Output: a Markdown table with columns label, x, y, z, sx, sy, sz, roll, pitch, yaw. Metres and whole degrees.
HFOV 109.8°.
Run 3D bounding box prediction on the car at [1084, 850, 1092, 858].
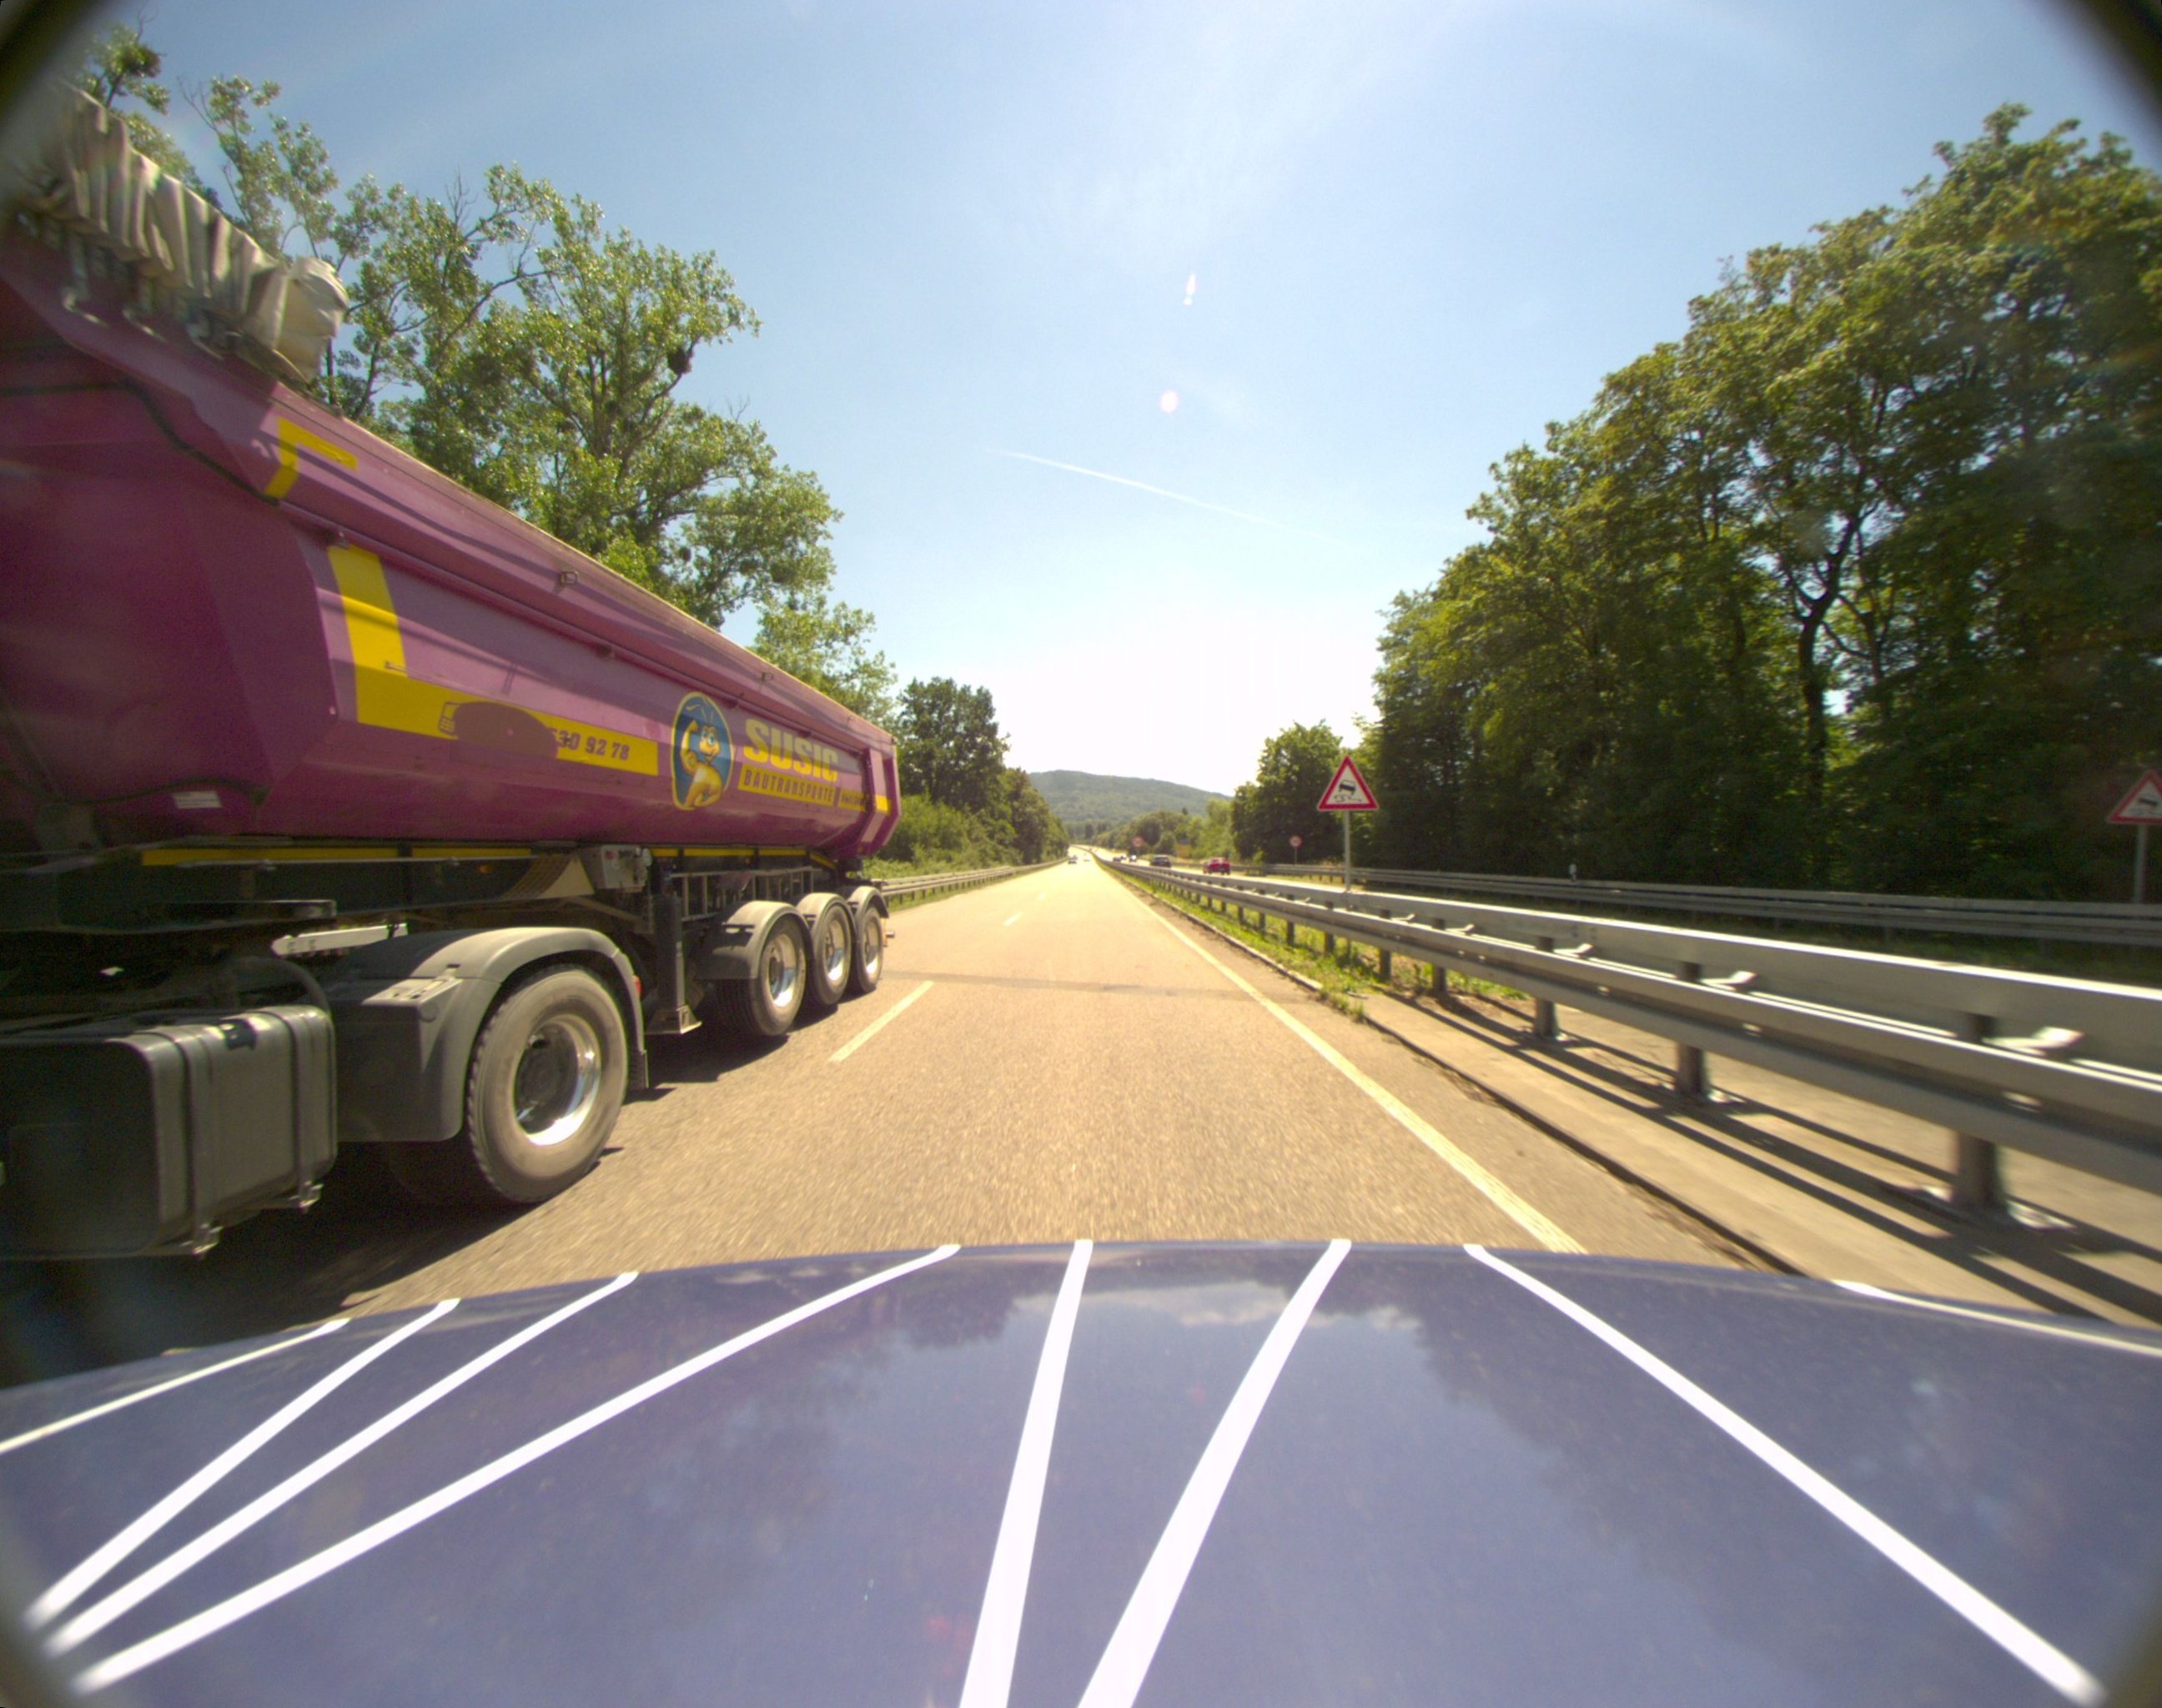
| label | x | y | z | sx | sy | sz | roll | pitch | yaw |
| --- | --- | --- | --- | --- | --- | --- | --- | --- | --- |
| car | 1.924 | -0.030 | 204.146 | 1.998 | 2.002 | 4.001 | 0 | 0 | 3 |

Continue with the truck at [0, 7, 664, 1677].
| label | x | y | z | sx | sy | sz | roll | pitch | yaw |
| --- | --- | --- | --- | --- | --- | --- | --- | --- | --- |
| truck | -3.676 | -0.028 | 1.218 | 2.605 | 3.670 | 5.938 | -2 | 0 | 0 |

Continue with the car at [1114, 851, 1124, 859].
| label | x | y | z | sx | sy | sz | roll | pitch | yaw |
| --- | --- | --- | --- | --- | --- | --- | --- | --- | --- |
| car | 8.772 | 0.201 | 176.142 | 1.998 | 1.652 | 4.389 | 0 | 0 | 1 |

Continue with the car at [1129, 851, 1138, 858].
| label | x | y | z | sx | sy | sz | roll | pitch | yaw |
| --- | --- | --- | --- | --- | --- | --- | --- | --- | --- |
| car | 12.604 | 0.210 | 183.004 | 1.998 | 1.652 | 4.389 | 0 | 0 | 0 |

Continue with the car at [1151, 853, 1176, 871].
| label | x | y | z | sx | sy | sz | roll | pitch | yaw |
| --- | --- | --- | --- | --- | --- | --- | --- | --- | --- |
| car | 7.955 | 0.781 | 73.393 | 1.998 | 1.652 | 4.389 | 0 | 0 | 1 |

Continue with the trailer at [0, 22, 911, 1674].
| label | x | y | z | sx | sy | sz | roll | pitch | yaw |
| --- | --- | --- | --- | --- | --- | --- | --- | --- | --- |
| trailer | -3.652 | -0.030 | 5.896 | 2.605 | 3.608 | 8.613 | -2 | 0 | 0 |

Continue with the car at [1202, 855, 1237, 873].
| label | x | y | z | sx | sy | sz | roll | pitch | yaw |
| --- | --- | --- | --- | --- | --- | --- | --- | --- | --- |
| car | 11.579 | 0.814 | 63.943 | 1.998 | 1.485 | 5.444 | 0 | 0 | 1 |
